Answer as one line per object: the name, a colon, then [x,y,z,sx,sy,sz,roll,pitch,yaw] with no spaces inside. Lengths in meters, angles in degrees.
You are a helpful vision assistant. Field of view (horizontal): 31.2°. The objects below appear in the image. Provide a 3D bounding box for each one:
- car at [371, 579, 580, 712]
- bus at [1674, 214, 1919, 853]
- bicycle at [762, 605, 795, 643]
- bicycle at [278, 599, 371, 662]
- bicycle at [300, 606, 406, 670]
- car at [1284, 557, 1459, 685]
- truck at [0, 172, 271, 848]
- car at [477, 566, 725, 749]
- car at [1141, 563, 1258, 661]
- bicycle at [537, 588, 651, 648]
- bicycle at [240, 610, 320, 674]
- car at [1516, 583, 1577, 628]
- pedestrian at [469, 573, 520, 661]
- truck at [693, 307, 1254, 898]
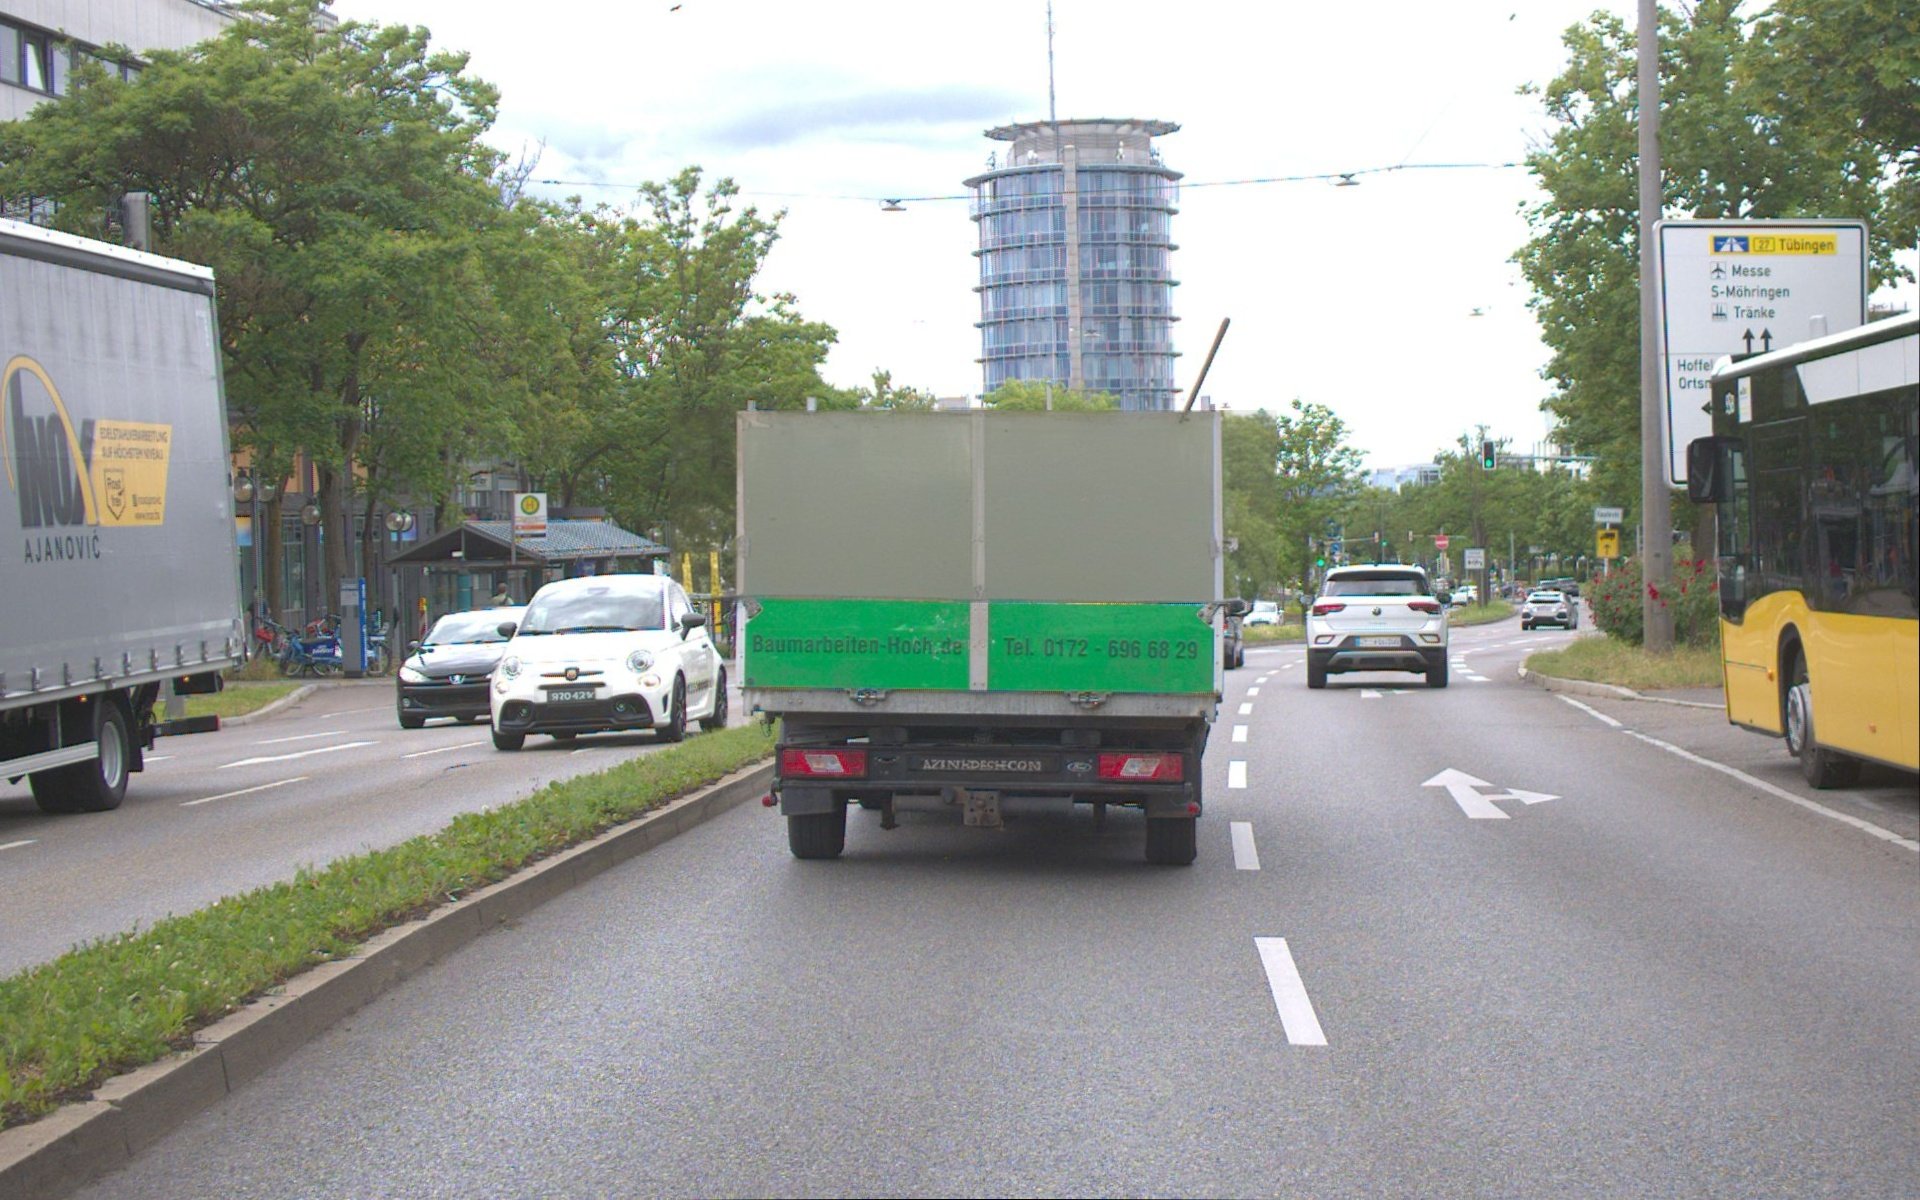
car: [-5.519,0.483,39.603,1.506,1.341,3.948,-3,1,4]
bus: [6.481,-0.333,20.053,2.982,3.230,9.865,2,1,3]
bicycle: [-5.332,0.702,101.026,0.830,1.080,1.936,-2,0,0]
bicycle: [-12.321,0.590,66.675,0.604,1.157,1.685,-1,1,45]
bicycle: [-11.399,0.708,64.614,1.960,1.157,0.604,-1,1,-44]
car: [5.306,0.230,44.845,1.868,1.500,4.773,-1,1,2]
truck: [-6.988,-0.528,21.331,2.939,3.944,9.164,-1,1,4]
car: [-3.137,0.466,30.635,1.588,1.497,3.718,-1,1,3]
car: [4.116,0.177,58.665,1.868,1.500,4.772,-1,1,5]
bicycle: [-9.703,0.485,91.082,2.899,1.501,0.598,-2,0,6]
bicycle: [-12.917,0.790,65.341,0.603,1.157,1.964,-2,1,17]
car: [21.487,0.195,126.050,1.994,1.547,3.999,-2,0,7]
pedestrian: [-9.747,0.350,71.999,0.704,1.816,1.213,0,0,10]
truck: [0.271,-0.047,18.511,2.471,2.602,6.547,0,1,4]
